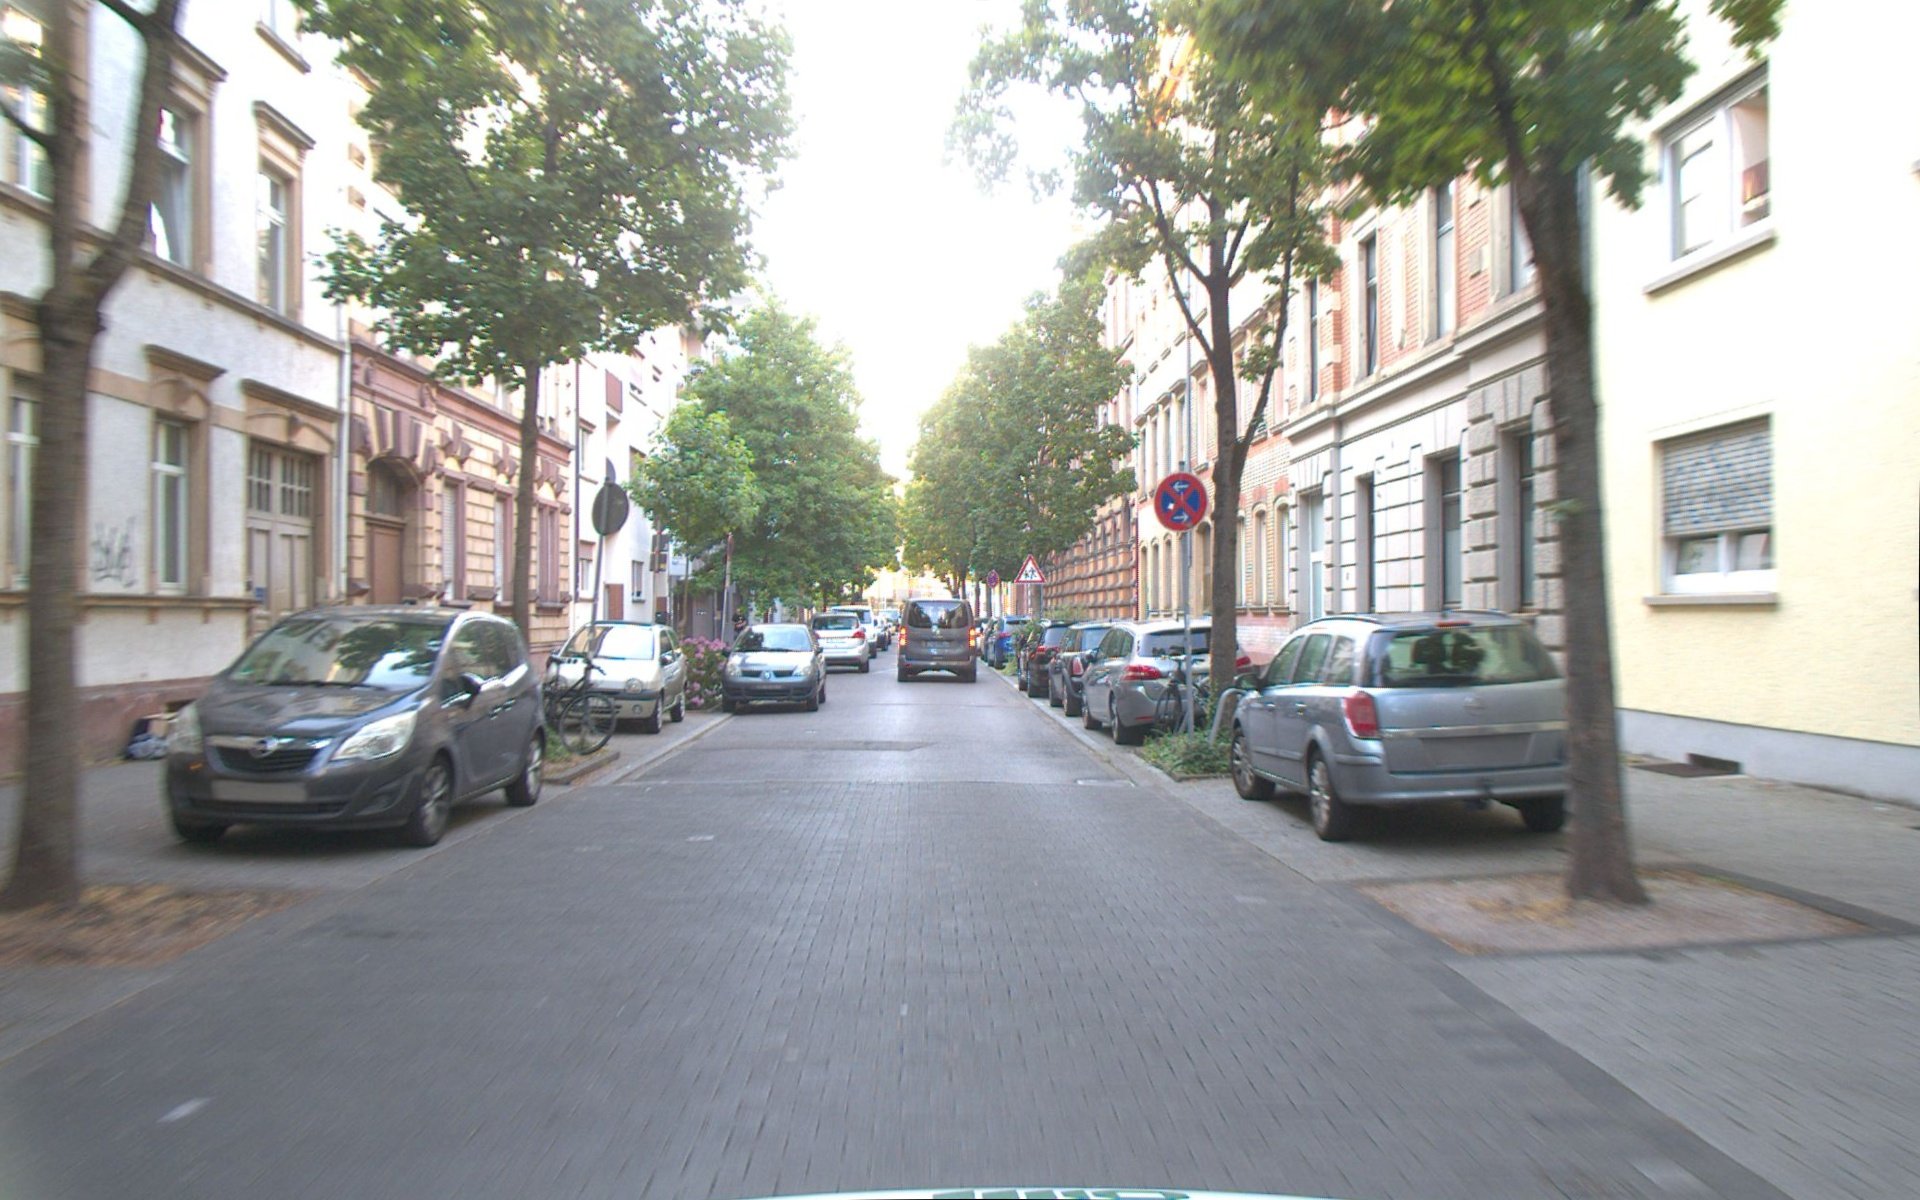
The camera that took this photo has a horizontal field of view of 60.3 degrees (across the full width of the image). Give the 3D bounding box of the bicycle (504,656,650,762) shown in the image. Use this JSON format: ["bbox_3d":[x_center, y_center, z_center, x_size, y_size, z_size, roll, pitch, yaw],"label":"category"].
[{"bbox_3d":[-4.312,1.197,18.568,1.795,1.104,0.665,-1,-2,41],"label":"bicycle"}]

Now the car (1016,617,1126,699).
[{"bbox_3d":[2.106,1.085,32.560,1.731,1.440,4.472,-2,-1,-1],"label":"car"}]

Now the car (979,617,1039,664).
[{"bbox_3d":[1.566,1.305,54.456,1.677,1.504,4.190,0,-1,-2],"label":"car"}]

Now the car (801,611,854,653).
[{"bbox_3d":[-5.570,1.345,70.192,1.953,1.675,4.920,2,-1,-2],"label":"car"}]

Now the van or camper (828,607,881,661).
[{"bbox_3d":[-3.868,1.229,60.738,1.839,1.875,4.749,-1,0,-3],"label":"van or camper"}]

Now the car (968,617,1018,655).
[{"bbox_3d":[1.239,1.379,64.545,1.659,1.426,4.644,-1,-1,-2],"label":"car"}]

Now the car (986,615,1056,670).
[{"bbox_3d":[1.727,1.189,47.750,1.595,1.492,4.242,-1,-1,-4],"label":"car"}]

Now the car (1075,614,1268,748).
[{"bbox_3d":[2.641,0.969,21.620,1.683,1.502,4.365,-2,0,-3],"label":"car"}]

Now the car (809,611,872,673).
[{"bbox_3d":[-3.298,1.128,45.492,1.630,1.590,3.996,-1,-1,-5],"label":"car"}]

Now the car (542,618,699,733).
[{"bbox_3d":[-4.723,1.009,23.410,1.555,1.462,3.564,1,-1,-2],"label":"car"}]

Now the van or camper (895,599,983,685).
[{"bbox_3d":[-0.463,0.970,39.548,1.993,1.931,4.270,0,-1,0],"label":"van or camper"}]

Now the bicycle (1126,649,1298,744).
[{"bbox_3d":[2.860,1.070,18.726,1.890,0.999,0.634,0,-1,-24],"label":"bicycle"}]

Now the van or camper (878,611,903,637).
[{"bbox_3d":[-5.566,1.940,132.582,1.824,2.018,4.270,-1,-1,0],"label":"van or camper"}]

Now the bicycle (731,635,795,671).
[{"bbox_3d":[-5.212,1.408,43.892,1.682,0.923,0.379,1,-1,-32],"label":"bicycle"}]

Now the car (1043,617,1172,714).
[{"bbox_3d":[2.361,1.026,27.221,1.603,1.449,3.562,-1,-1,-3],"label":"car"}]

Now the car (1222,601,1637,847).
[{"bbox_3d":[3.251,0.779,12.391,1.723,1.489,4.305,-1,0,-2],"label":"car"}]

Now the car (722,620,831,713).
[{"bbox_3d":[-3.056,1.080,28.135,1.548,1.445,3.751,-1,-1,-2],"label":"car"}]

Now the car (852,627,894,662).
[{"bbox_3d":[-3.918,2.012,75.017,1.793,1.544,4.514,0,-1,-2],"label":"car"}]

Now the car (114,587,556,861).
[{"bbox_3d":[-4.271,0.754,12.026,1.672,1.608,4.077,1,0,-1],"label":"car"}]

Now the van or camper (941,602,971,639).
[{"bbox_3d":[-0.318,1.540,123.765,1.954,2.644,5.420,0,-1,-3],"label":"van or camper"}]

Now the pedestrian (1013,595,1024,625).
[{"bbox_3d":[3.243,0.561,91.573,0.614,1.677,0.531,0,-1,-1],"label":"pedestrian"}]
